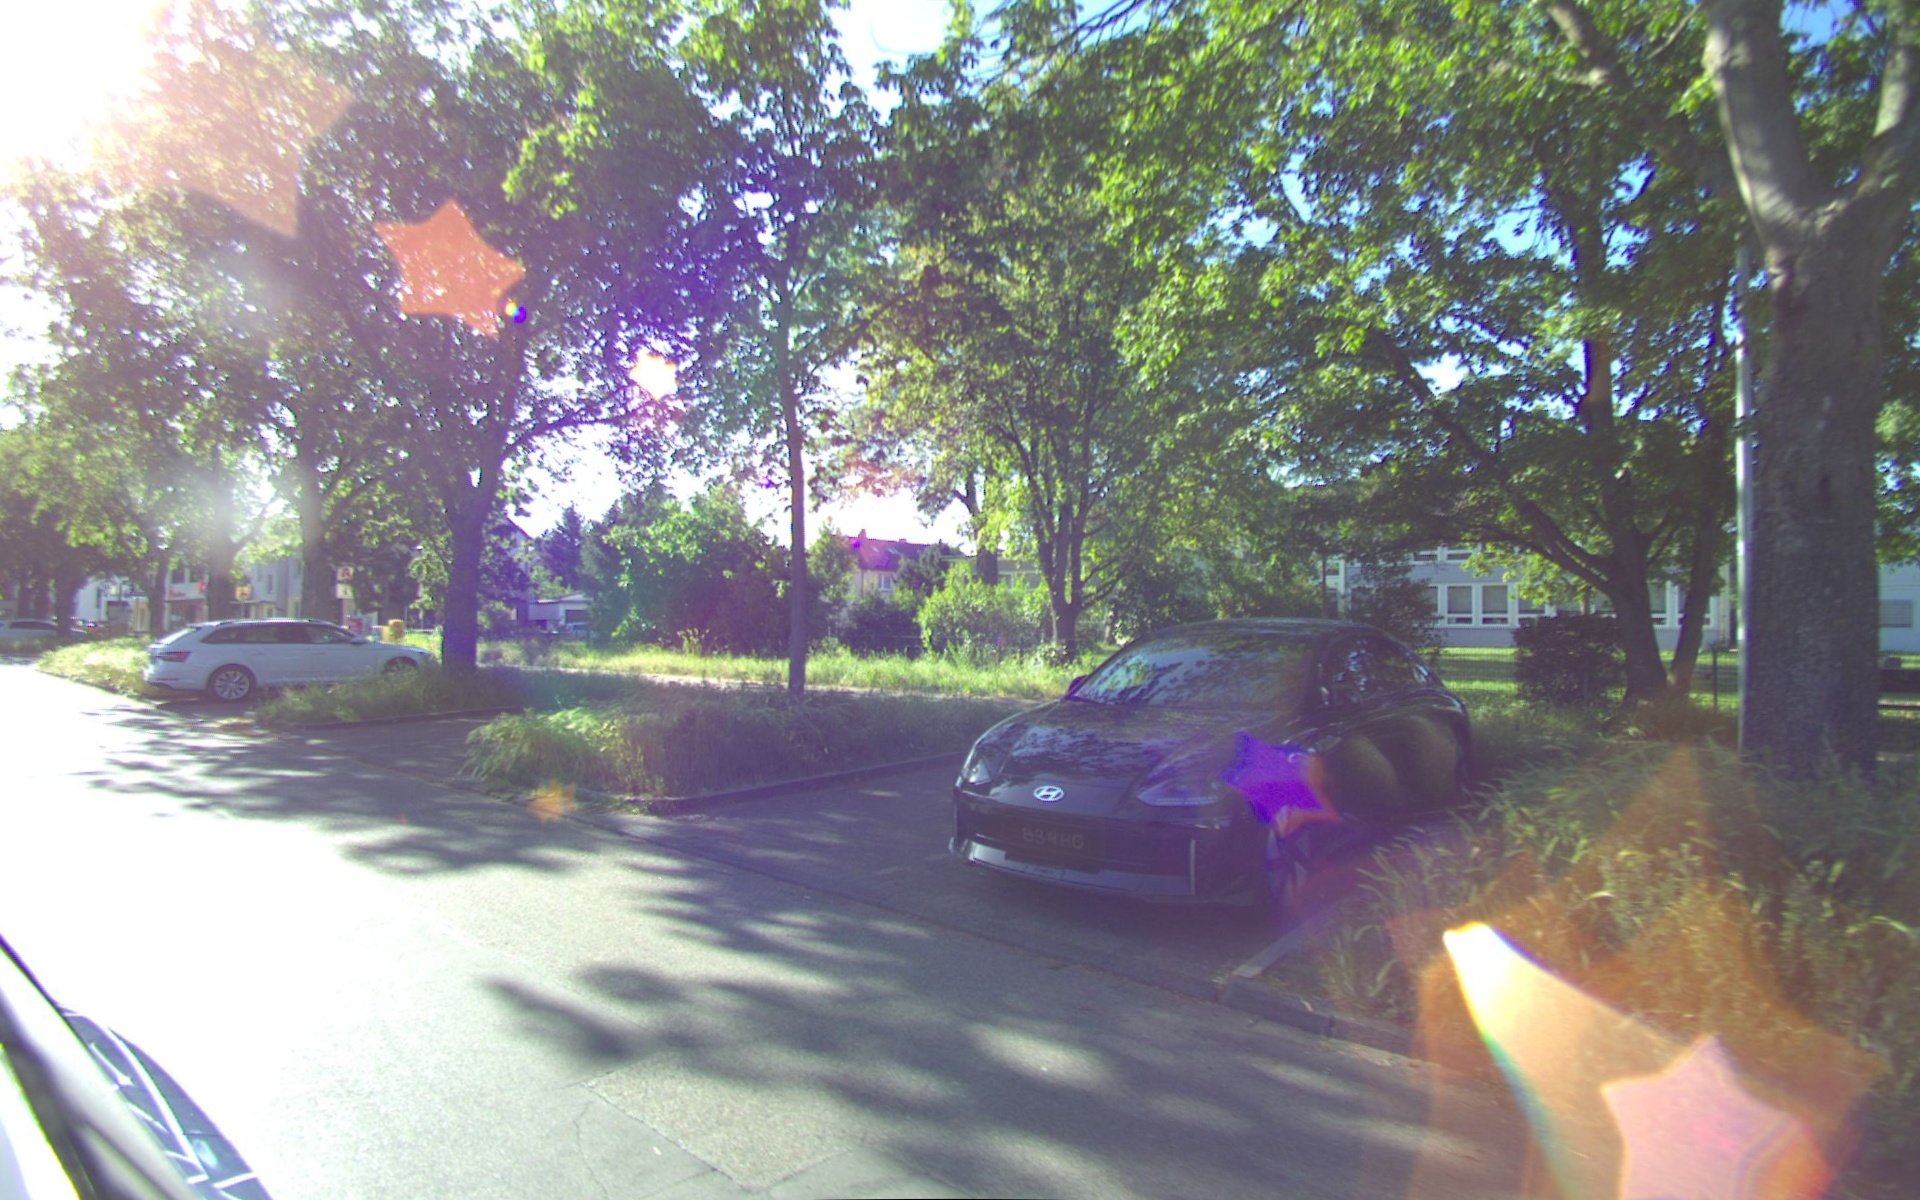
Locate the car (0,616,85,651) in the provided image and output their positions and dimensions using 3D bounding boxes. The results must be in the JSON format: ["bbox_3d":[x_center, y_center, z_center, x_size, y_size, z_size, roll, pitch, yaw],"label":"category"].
[{"bbox_3d":[-46.920,1.673,51.099,1.965,1.673,3.946,-1,-1,40],"label":"car"}]

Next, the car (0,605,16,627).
[{"bbox_3d":[-78.790,1.384,80.581,1.997,1.740,5.014,-1,2,38],"label":"car"}]

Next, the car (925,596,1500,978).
[{"bbox_3d":[1.901,0.771,6.422,1.806,1.543,4.322,0,0,41],"label":"car"}]

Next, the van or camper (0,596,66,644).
[{"bbox_3d":[-59.189,1.247,62.489,2.000,2.826,5.712,0,2,43],"label":"van or camper"}]

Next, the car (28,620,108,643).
[{"bbox_3d":[-63.288,2.214,71.859,1.867,1.554,3.951,-1,0,36],"label":"car"}]

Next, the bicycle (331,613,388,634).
[{"bbox_3d":[-34.278,1.342,57.753,4.034,1.185,0.700,-1,-2,26],"label":"bicycle"}]

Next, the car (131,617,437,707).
[{"bbox_3d":[-12.978,1.098,19.662,2.000,1.515,4.620,-1,-1,43],"label":"car"}]

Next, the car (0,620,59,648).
[{"bbox_3d":[-56.902,2.071,60.721,1.999,1.469,3.947,0,2,40],"label":"car"}]

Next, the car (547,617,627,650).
[{"bbox_3d":[-21.693,1.912,58.990,1.999,1.834,3.945,-1,-1,41],"label":"car"}]
